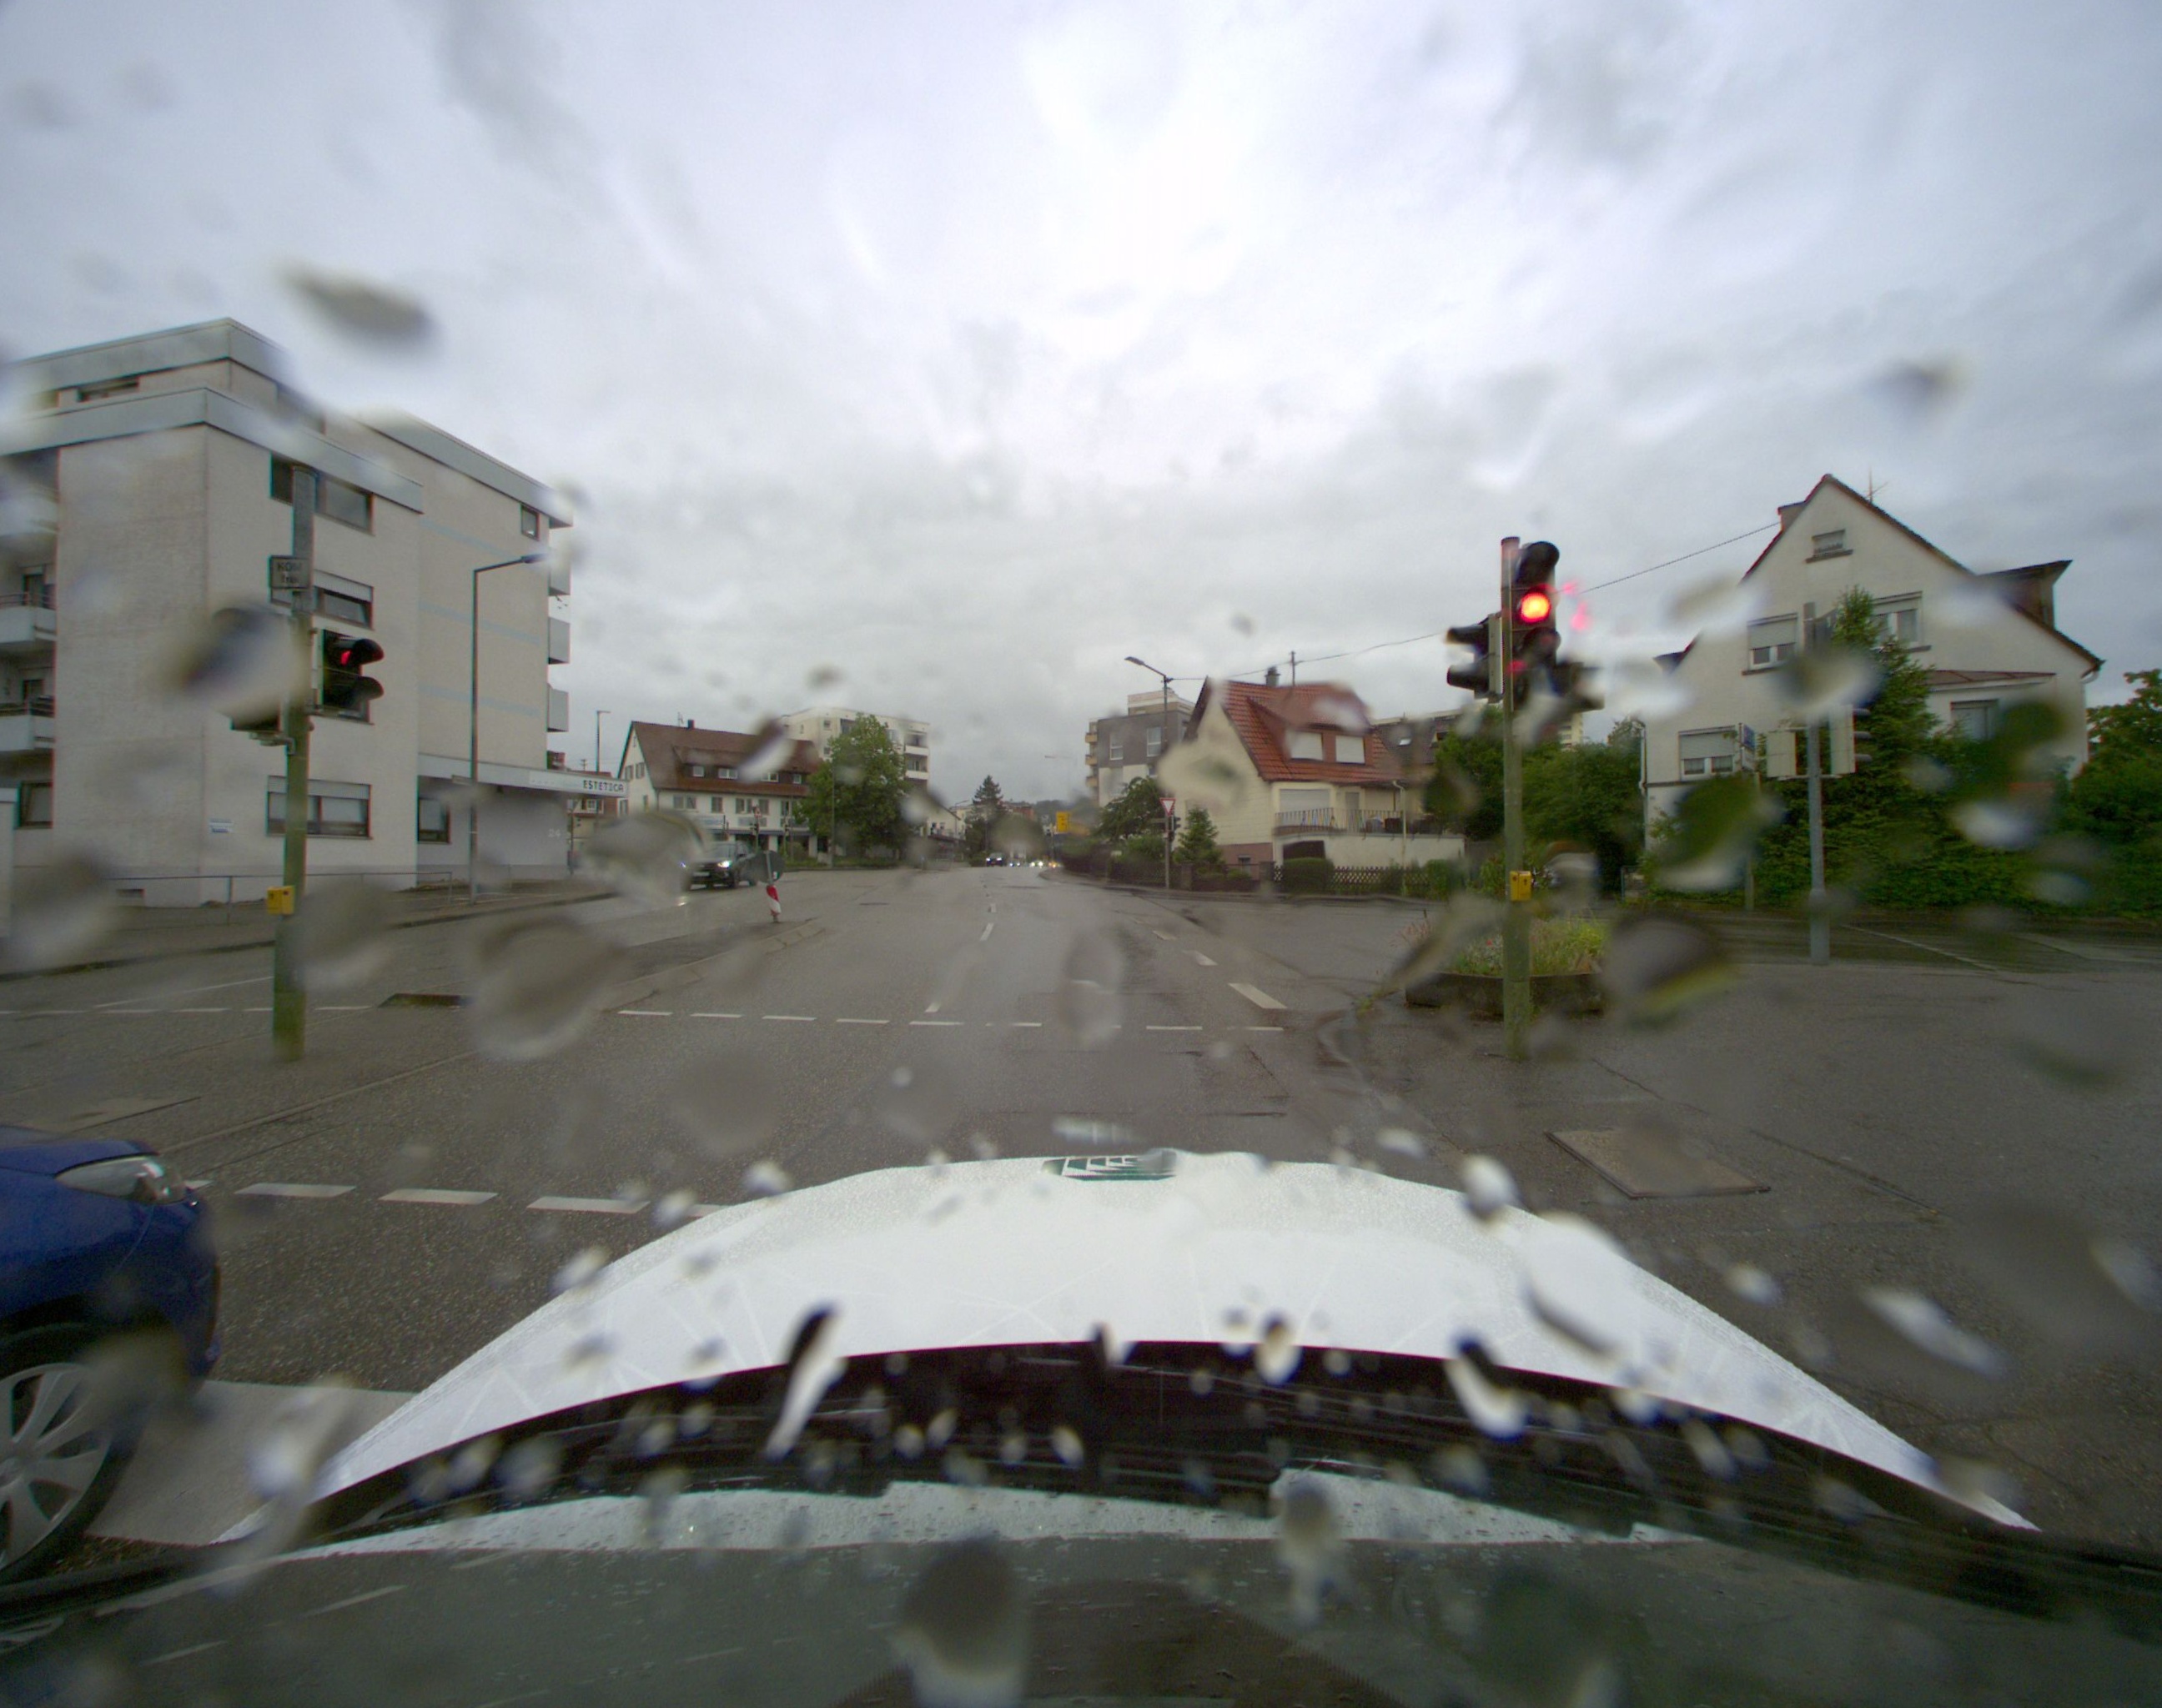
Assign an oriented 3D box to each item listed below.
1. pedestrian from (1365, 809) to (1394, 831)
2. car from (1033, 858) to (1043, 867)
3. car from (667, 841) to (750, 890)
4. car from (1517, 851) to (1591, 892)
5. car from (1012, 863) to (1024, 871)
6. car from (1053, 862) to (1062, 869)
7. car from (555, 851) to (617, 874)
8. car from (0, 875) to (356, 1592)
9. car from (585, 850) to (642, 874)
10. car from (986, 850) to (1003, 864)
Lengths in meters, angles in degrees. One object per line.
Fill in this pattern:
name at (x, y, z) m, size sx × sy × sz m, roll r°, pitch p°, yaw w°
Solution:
pedestrian at (12.775, -1.442, 34.862) m, size 0.918 × 0.883 × 0.632 m, roll 0°, pitch -3°, yaw -18°
car at (-8.139, 1.599, 154.371) m, size 1.989 × 1.679 × 3.996 m, roll 0°, pitch -1°, yaw -3°
car at (-13.084, 0.399, 28.849) m, size 1.881 × 1.597 × 4.165 m, roll 0°, pitch -1°, yaw -14°
car at (17.116, 0.589, 29.377) m, size 1.794 × 1.362 × 4.025 m, roll -1°, pitch -1°, yaw 37°
car at (-11.284, 2.305, 146.266) m, size 1.989 × 1.463 × 3.996 m, roll 0°, pitch 0°, yaw -3°
car at (-5.553, 2.736, 194.288) m, size 1.989 × 1.812 × 3.996 m, roll 0°, pitch -1°, yaw -3°
car at (-41.211, 0.671, 67.809) m, size 4.093 × 1.843 × 1.864 m, roll 0°, pitch -1°, yaw -44°
car at (-2.947, 0.782, 0.732) m, size 1.499 × 1.413 × 3.365 m, roll 0°, pitch 0°, yaw 2°
car at (-38.437, 0.631, 66.986) m, size 3.706 × 1.920 × 1.864 m, roll 0°, pitch -1°, yaw -44°
car at (-11.181, 0.390, 105.213) m, size 1.990 × 1.737 × 5.173 m, roll 0°, pitch 0°, yaw -4°
